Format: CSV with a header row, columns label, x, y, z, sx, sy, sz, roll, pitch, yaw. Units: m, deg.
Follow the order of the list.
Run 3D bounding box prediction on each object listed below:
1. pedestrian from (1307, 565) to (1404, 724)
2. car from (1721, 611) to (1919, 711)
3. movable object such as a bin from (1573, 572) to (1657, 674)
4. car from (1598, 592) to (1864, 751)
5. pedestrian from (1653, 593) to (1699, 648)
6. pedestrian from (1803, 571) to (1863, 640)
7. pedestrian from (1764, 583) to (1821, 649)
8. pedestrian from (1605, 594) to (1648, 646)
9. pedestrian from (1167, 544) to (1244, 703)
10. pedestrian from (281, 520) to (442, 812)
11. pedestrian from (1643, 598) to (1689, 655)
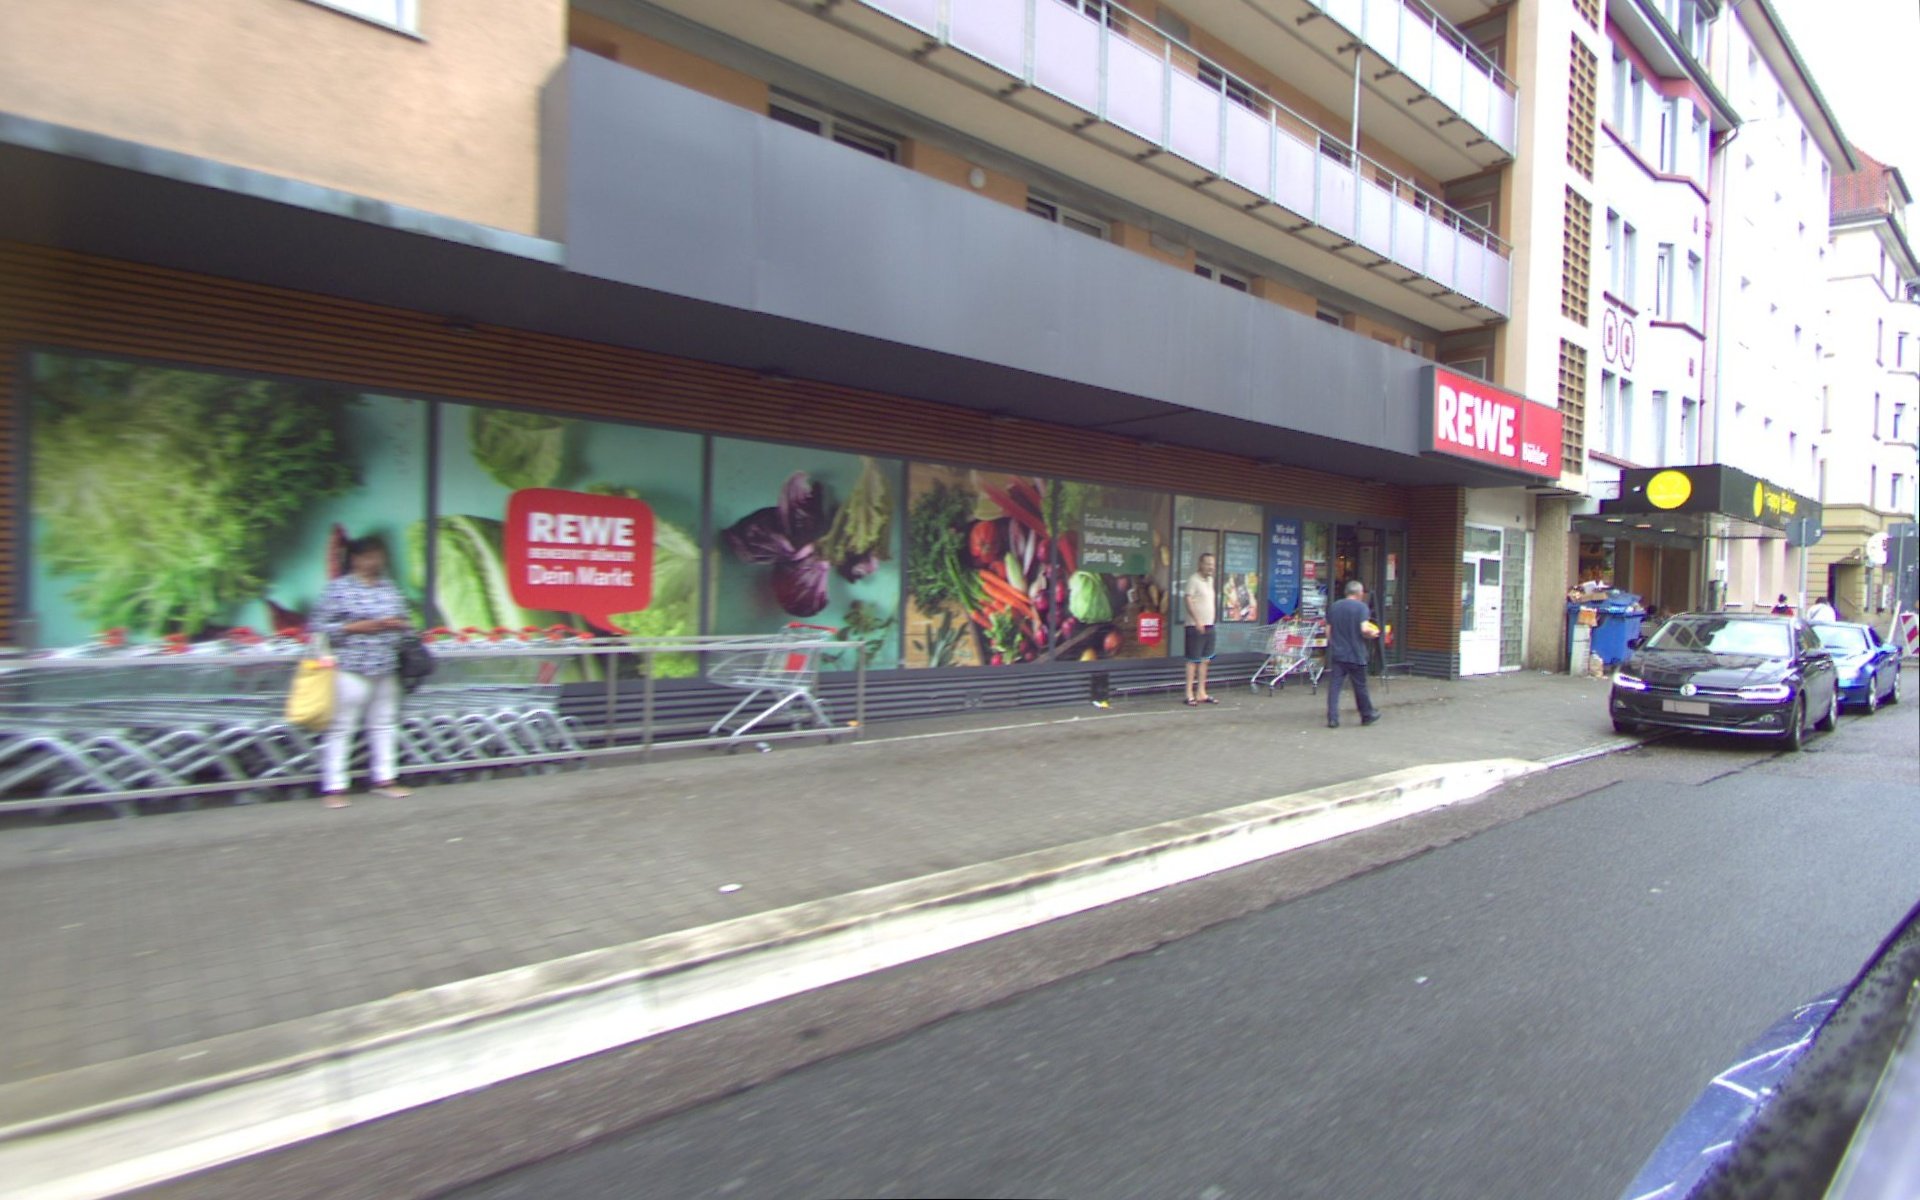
label,x,y,z,sx,sy,sz,roll,pitch,yaw
pedestrian,4.374,0.476,11.200,0.735,1.672,0.627,4,0,-39
car,13.370,0.855,15.629,3.699,1.327,1.738,0,-1,-39
movable object such as a bin,12.303,0.397,19.008,1.274,1.815,1.000,-1,2,-43
car,9.256,0.724,12.043,3.911,1.567,1.733,1,0,-41
pedestrian,17.492,0.494,24.719,0.647,1.273,0.703,0,3,-41
pedestrian,22.099,0.136,25.626,0.767,1.667,0.705,2,2,-6
pedestrian,21.751,0.408,26.449,0.767,1.667,0.705,2,2,-6
pedestrian,17.056,0.506,25.910,0.647,1.273,0.703,0,3,-41
pedestrian,3.021,0.266,12.451,0.714,1.882,0.597,0,1,-38
pedestrian,-3.500,0.350,5.932,0.559,1.592,0.620,2,1,33
pedestrian,16.648,0.617,23.882,0.645,1.273,0.625,1,3,-33
